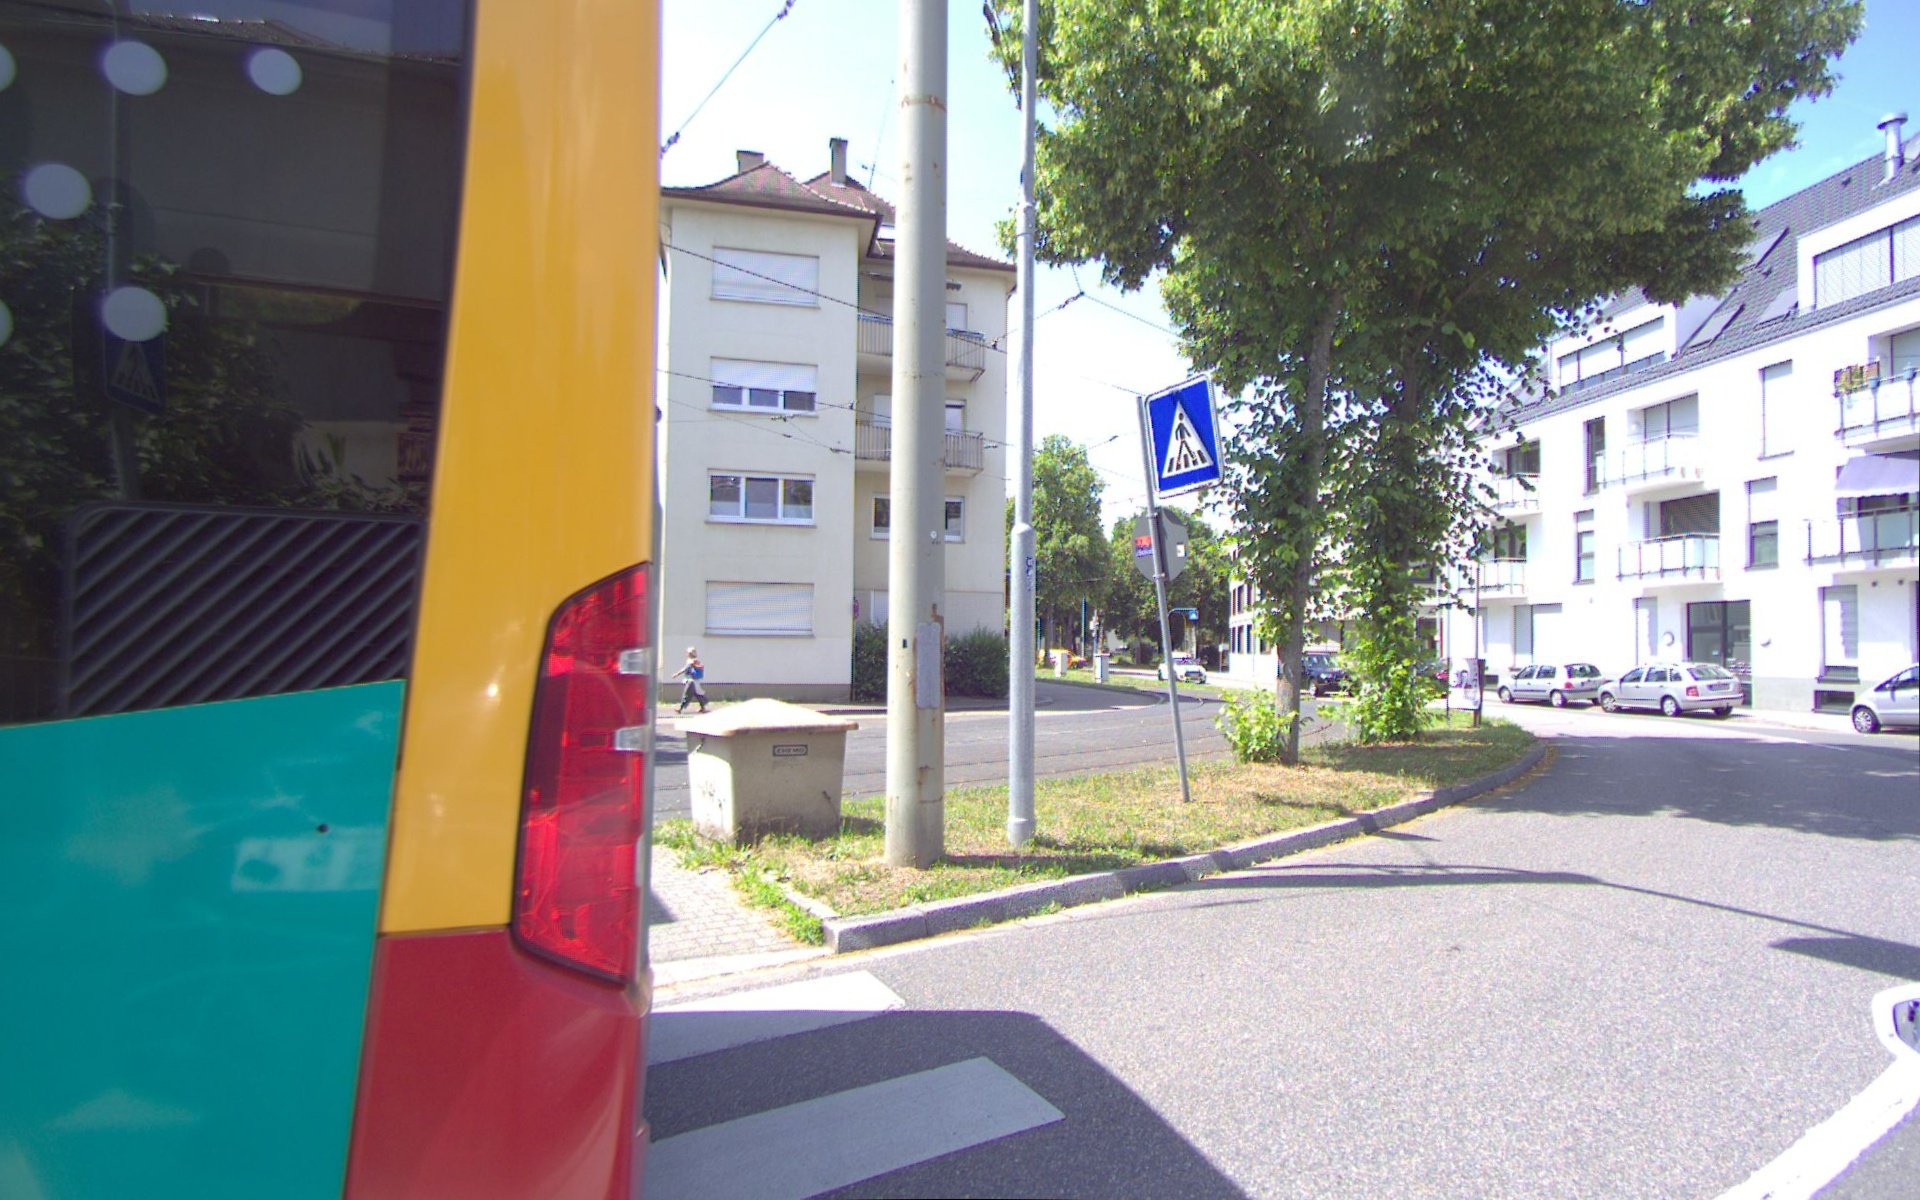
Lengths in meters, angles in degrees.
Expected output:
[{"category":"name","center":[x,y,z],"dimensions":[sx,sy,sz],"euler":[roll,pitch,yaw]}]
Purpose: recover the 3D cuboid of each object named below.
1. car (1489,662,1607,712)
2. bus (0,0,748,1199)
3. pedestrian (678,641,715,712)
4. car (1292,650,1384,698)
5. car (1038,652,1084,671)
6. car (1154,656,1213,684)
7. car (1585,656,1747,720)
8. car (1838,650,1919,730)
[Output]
[{"category":"car","center":[19.227,2.800,33.000],"dimensions":[1.396,1.375,3.499],"euler":[-3,-2,-8]},{"category":"bus","center":[-6.465,-0.398,0.719],"dimensions":[12.117,3.251,2.776],"euler":[2,-1,-20]},{"category":"pedestrian","center":[-6.397,1.849,24.390],"dimensions":[0.601,1.674,0.569],"euler":[4,-2,-36]},{"category":"car","center":[13.289,2.594,35.599],"dimensions":[1.856,1.572,4.400],"euler":[1,-4,4]},{"category":"car","center":[9.572,5.812,95.052],"dimensions":[3.987,1.547,1.652],"euler":[3,-2,20]},{"category":"car","center":[12.010,3.735,54.220],"dimensions":[1.754,1.260,3.995],"euler":[3,-2,-8]},{"category":"car","center":[19.750,2.419,28.306],"dimensions":[1.629,1.485,3.908],"euler":[-3,-1,-3]},{"category":"car","center":[20.379,1.896,20.600],"dimensions":[1.553,1.607,3.619],"euler":[3,-2,1]}]
